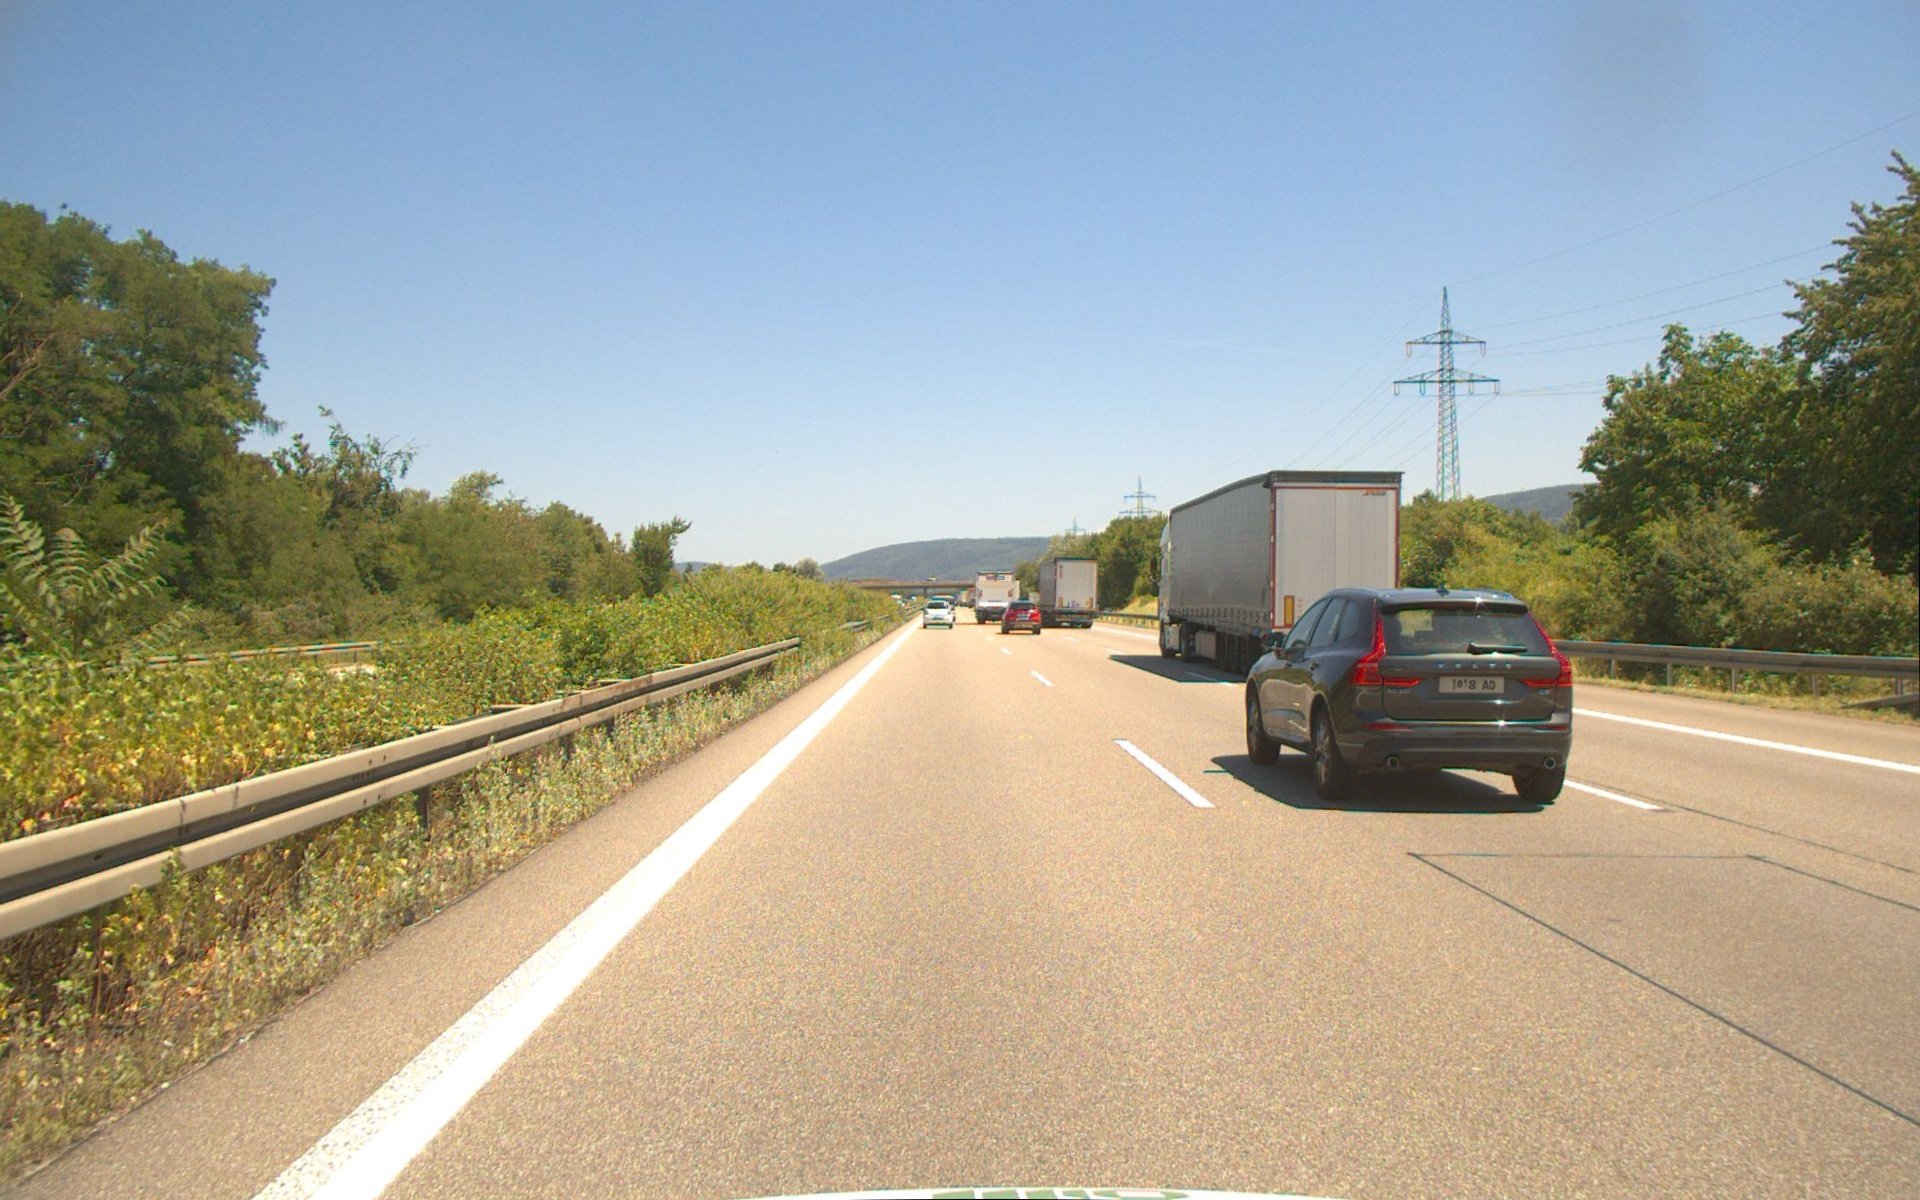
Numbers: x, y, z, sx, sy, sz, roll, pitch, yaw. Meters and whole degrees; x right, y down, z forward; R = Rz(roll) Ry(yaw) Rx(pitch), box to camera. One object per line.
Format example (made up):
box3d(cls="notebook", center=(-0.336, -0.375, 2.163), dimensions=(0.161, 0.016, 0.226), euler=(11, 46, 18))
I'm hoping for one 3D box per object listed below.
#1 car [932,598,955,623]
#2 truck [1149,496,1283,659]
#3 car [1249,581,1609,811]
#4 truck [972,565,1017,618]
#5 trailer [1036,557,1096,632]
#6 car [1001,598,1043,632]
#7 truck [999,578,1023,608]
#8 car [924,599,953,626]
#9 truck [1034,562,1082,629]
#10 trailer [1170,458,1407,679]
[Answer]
box3d(cls="car", center=(-1.237, 0.775, 123.995), dimensions=(1.725, 1.883, 3.999), euler=(0, 0, -1))
box3d(cls="truck", center=(6.964, -0.564, 45.781), dimensions=(2.680, 4.192, 6.123), euler=(0, 0, -1))
box3d(cls="car", center=(3.741, 0.697, 13.957), dimensions=(1.835, 1.652, 4.003), euler=(0, 0, -1))
box3d(cls="truck", center=(2.290, -0.551, 112.706), dimensions=(2.726, 3.432, 8.125), euler=(0, 0, -1))
box3d(cls="trailer", center=(6.400, -0.302, 101.977), dimensions=(2.732, 4.237, 13.572), euler=(-1, 0, 0))
box3d(cls="car", center=(2.927, 0.704, 78.764), dimensions=(1.766, 1.572, 3.999), euler=(0, 0, -1))
box3d(cls="truck", center=(5.778, -0.773, 188.802), dimensions=(2.176, 3.265, 10.382), euler=(-1, 0, -1))
box3d(cls="car", center=(-1.201, 0.680, 92.687), dimensions=(1.575, 1.493, 3.999), euler=(0, 0, -1))
box3d(cls="truck", center=(6.382, -0.284, 108.418), dimensions=(2.738, 4.237, 5.722), euler=(-1, 0, 0))
box3d(cls="trailer", center=(7.070, -0.572, 37.954), dimensions=(2.680, 4.178, 13.119), euler=(0, 0, -1))
